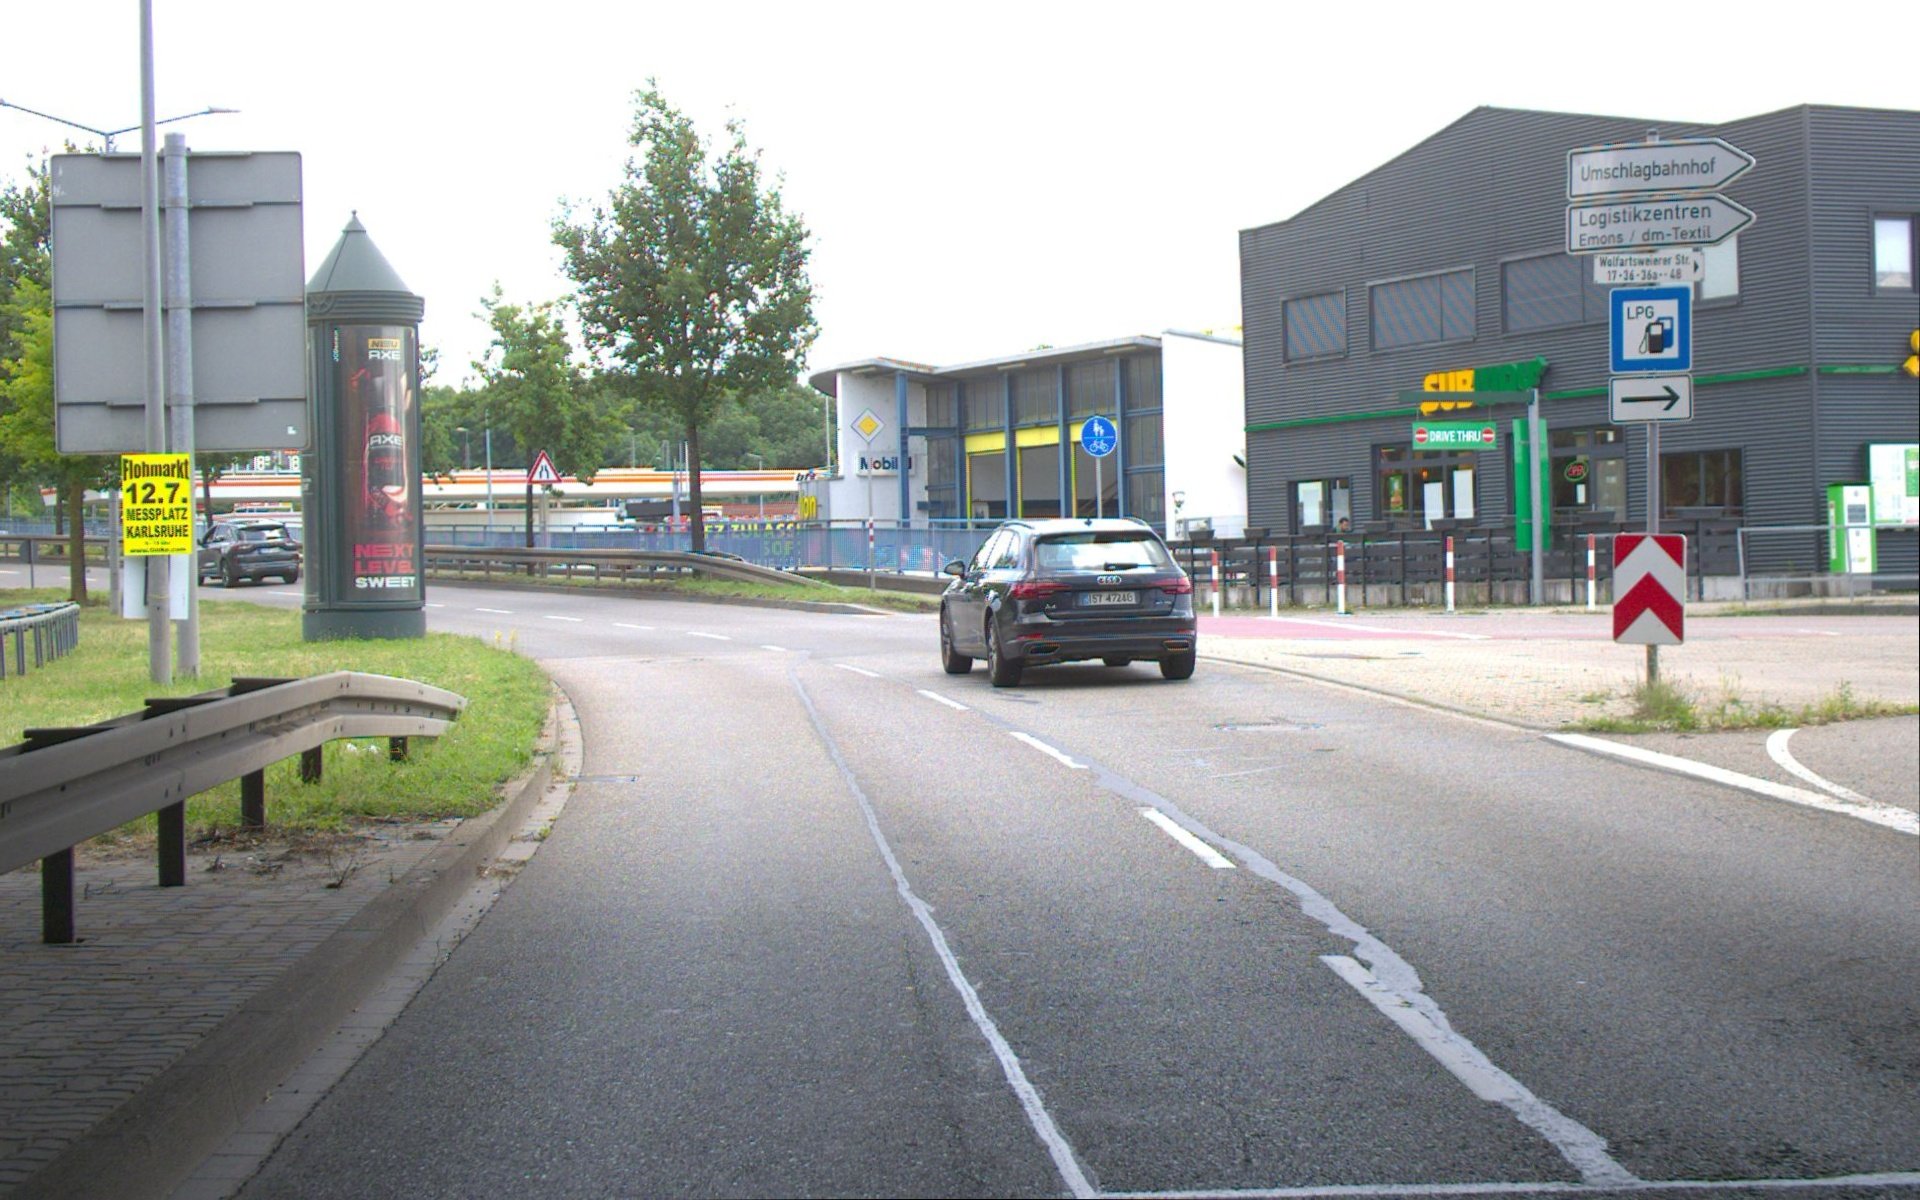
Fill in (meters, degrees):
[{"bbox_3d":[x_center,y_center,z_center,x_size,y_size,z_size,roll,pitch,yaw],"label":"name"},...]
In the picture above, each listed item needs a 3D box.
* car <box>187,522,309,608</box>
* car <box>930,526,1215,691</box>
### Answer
[{"bbox_3d":[-18.133,-0.870,87.412,1.993,2.030,4.713,-2,0,-24],"label":"car"},{"bbox_3d":[0.936,0.031,31.274,1.993,1.386,4.576,0,1,-6],"label":"car"}]
